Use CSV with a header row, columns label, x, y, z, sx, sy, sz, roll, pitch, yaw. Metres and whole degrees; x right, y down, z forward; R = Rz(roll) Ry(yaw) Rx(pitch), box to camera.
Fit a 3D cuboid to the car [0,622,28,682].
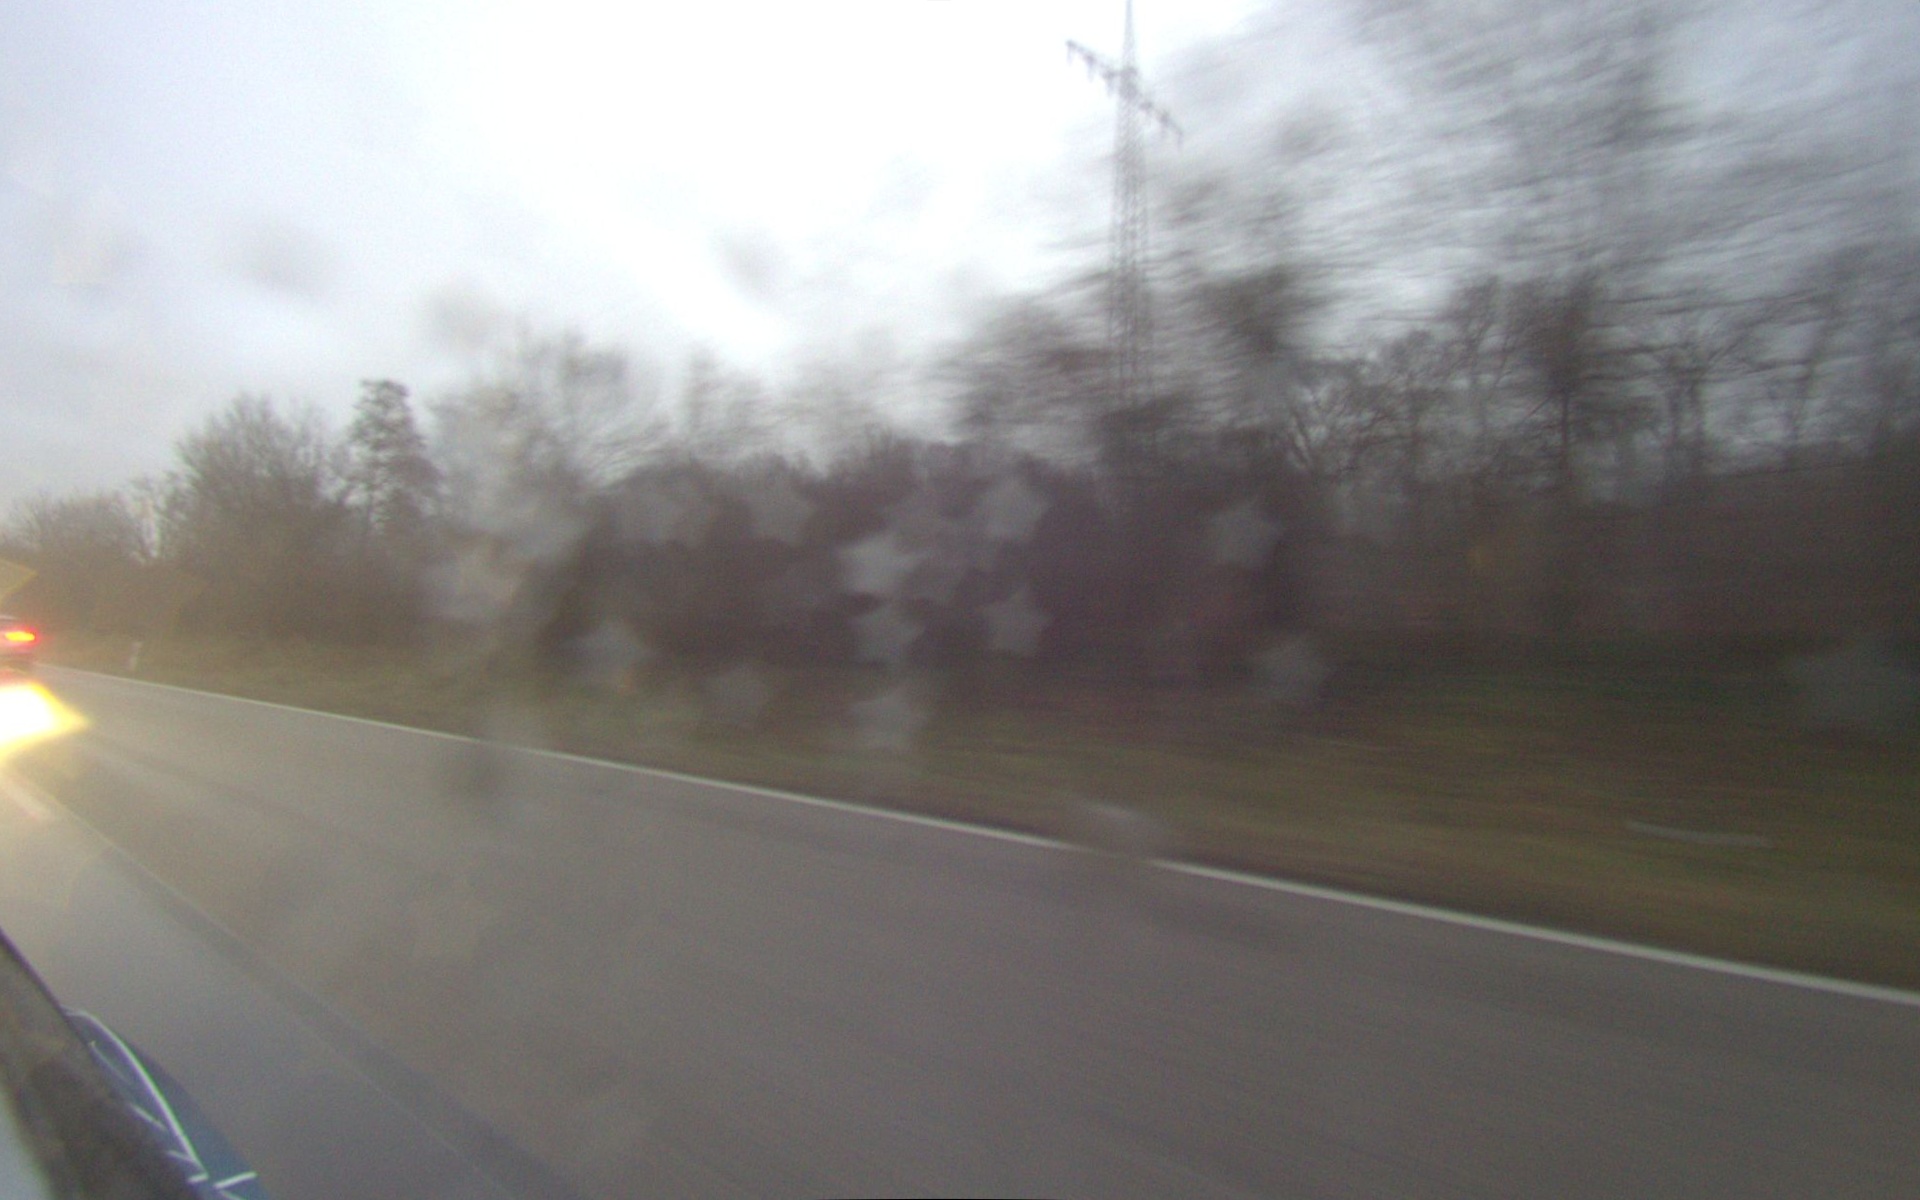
label,x,y,z,sx,sy,sz,roll,pitch,yaw
car,-26.962,1.419,27.610,4.956,1.546,1.716,-2,-1,41
